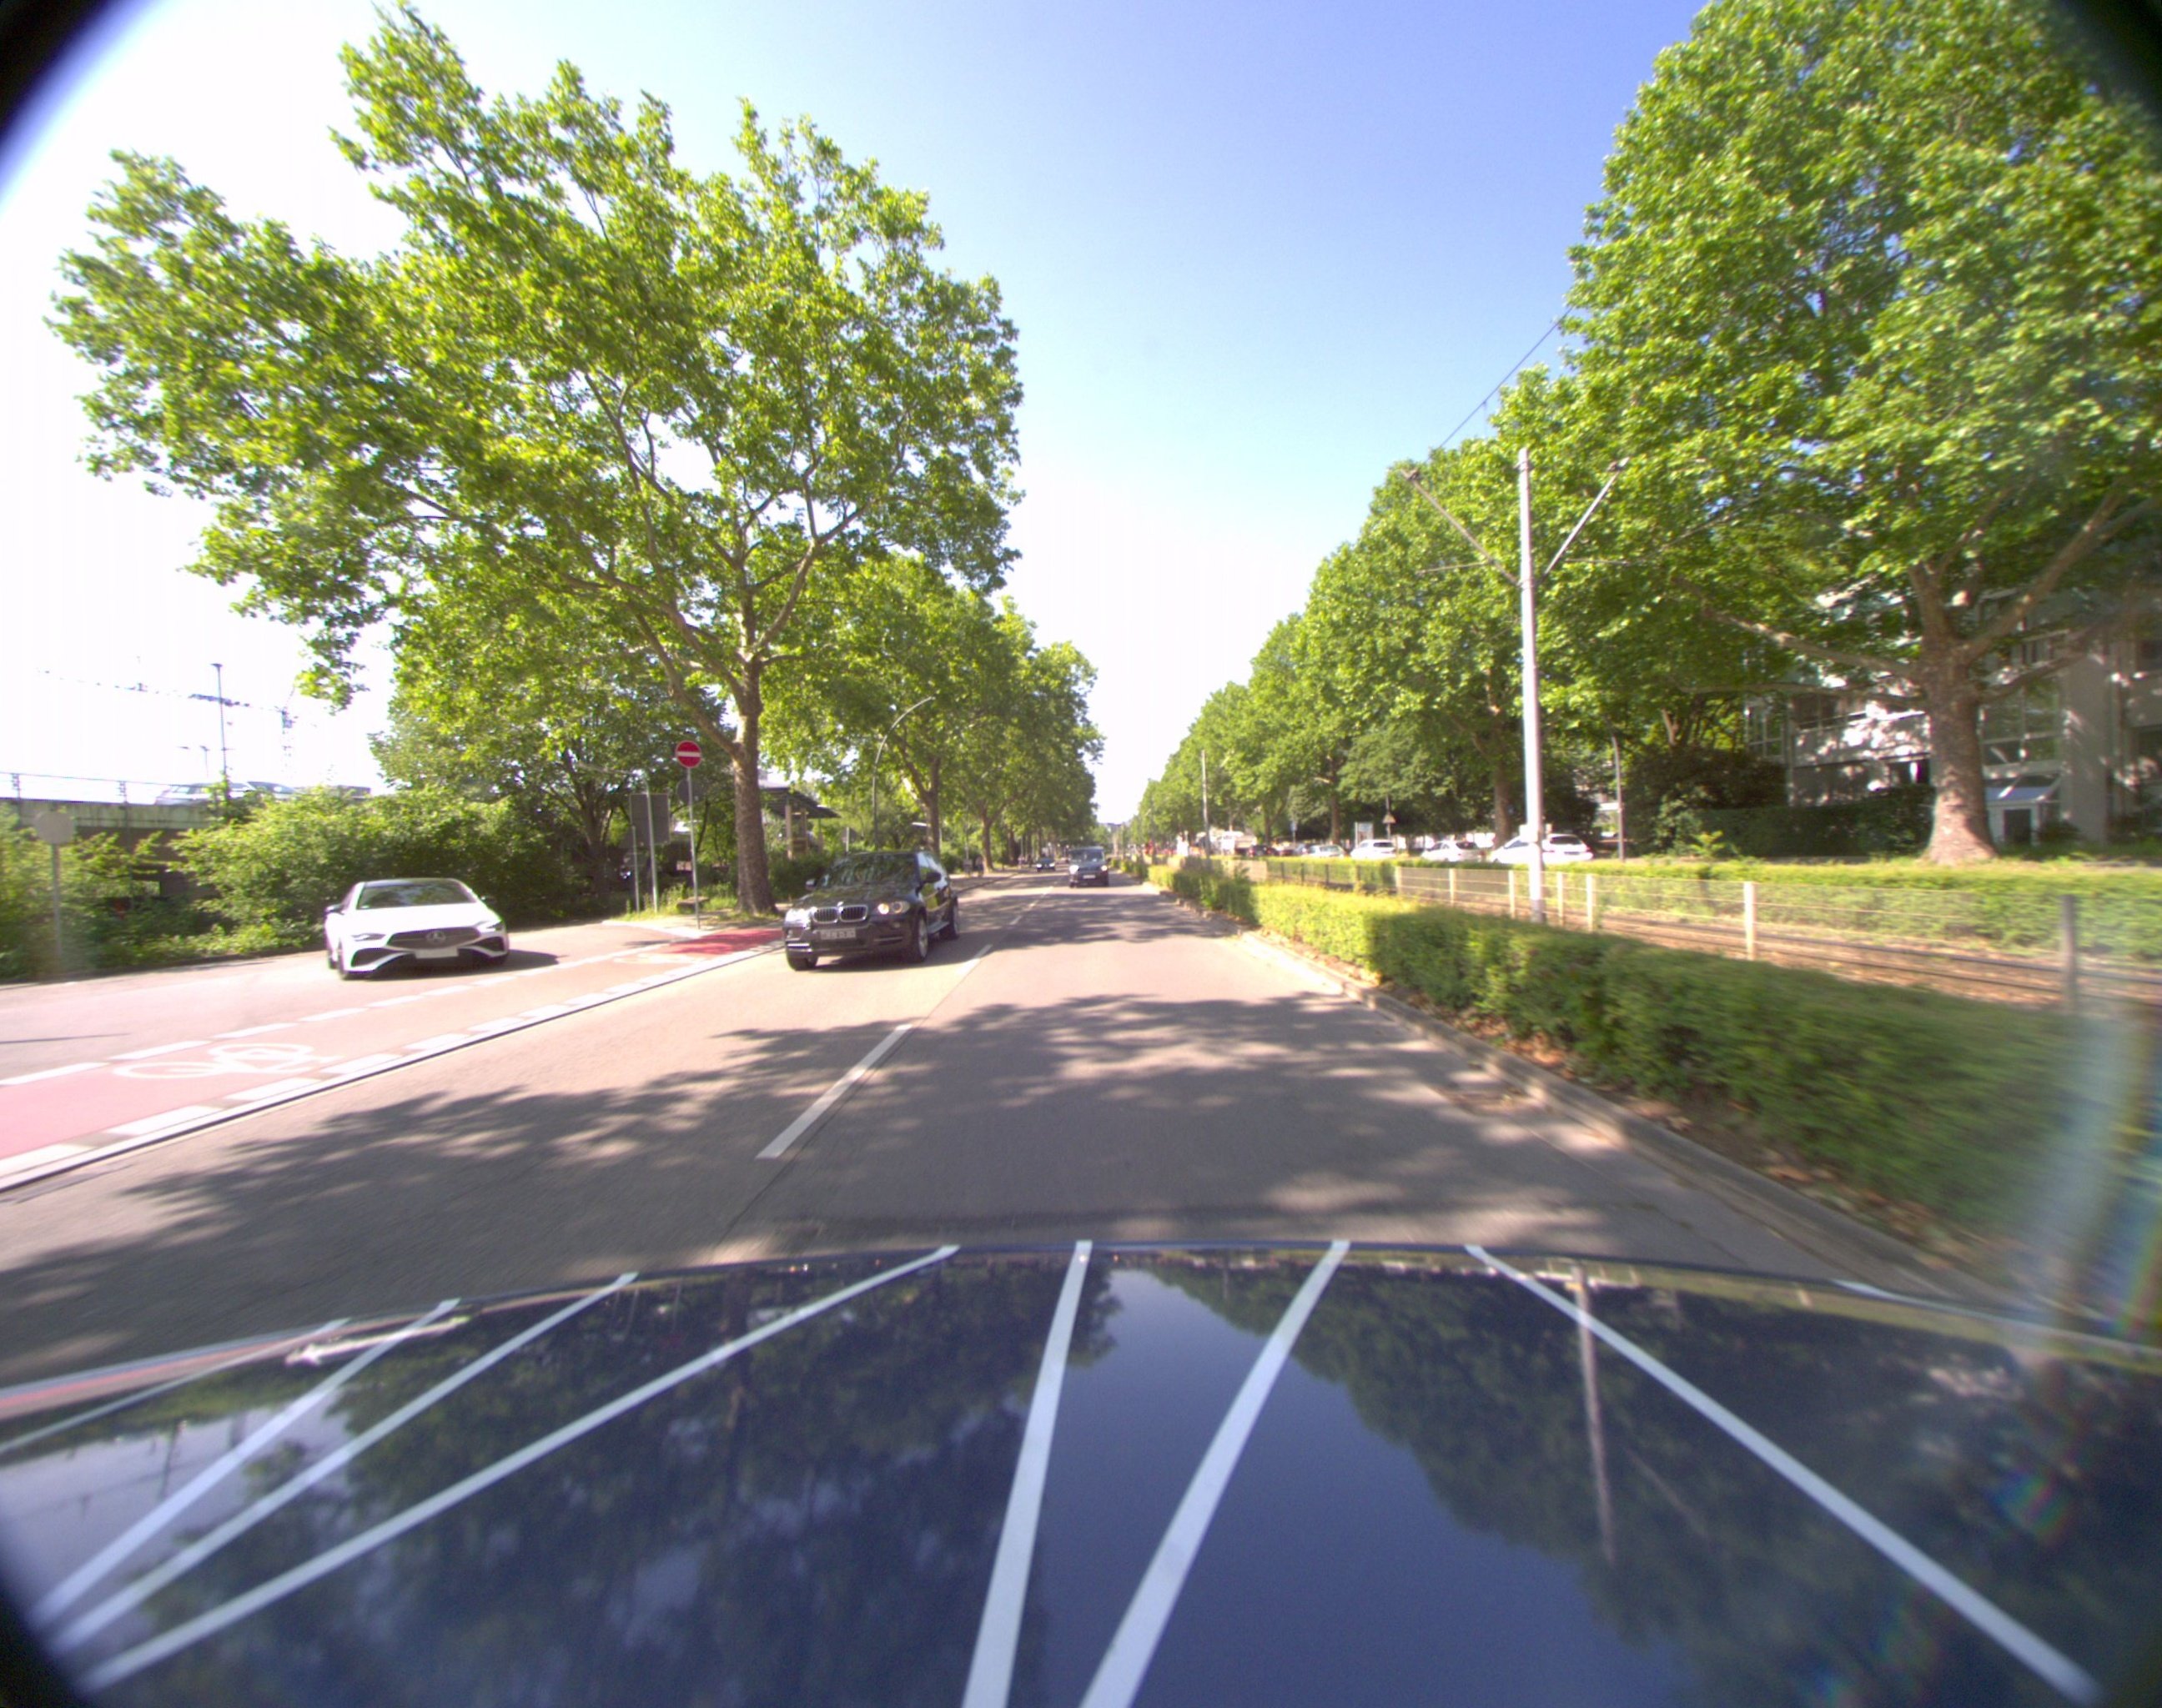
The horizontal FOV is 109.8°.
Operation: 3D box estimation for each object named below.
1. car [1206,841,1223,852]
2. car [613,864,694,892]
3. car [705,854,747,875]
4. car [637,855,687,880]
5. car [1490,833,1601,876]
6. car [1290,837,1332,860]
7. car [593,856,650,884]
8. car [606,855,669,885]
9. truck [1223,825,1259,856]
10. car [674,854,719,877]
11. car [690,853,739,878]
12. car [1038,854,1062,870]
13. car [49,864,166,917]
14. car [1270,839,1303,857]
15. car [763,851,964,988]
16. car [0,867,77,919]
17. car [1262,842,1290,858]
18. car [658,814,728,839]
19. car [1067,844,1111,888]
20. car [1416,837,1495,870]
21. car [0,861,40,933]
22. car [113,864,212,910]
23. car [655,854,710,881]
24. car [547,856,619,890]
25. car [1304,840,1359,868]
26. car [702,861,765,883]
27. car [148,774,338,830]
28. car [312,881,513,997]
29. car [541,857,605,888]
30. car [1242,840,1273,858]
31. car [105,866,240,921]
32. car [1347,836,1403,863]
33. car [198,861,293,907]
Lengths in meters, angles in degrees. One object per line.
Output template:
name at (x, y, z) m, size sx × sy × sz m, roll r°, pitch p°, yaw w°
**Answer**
car at (19.444, -1.060, 110.885) m, size 1.752 × 1.445 × 3.865 m, roll -3°, pitch 0°, yaw 1°
car at (-26.827, 1.497, 47.808) m, size 3.997 × 1.501 × 1.808 m, roll -3°, pitch 1°, yaw -1°
car at (-42.342, 1.212, 90.616) m, size 3.997 × 2.309 × 1.808 m, roll -3°, pitch 1°, yaw -1°
car at (-42.340, 1.366, 76.855) m, size 3.997 × 2.309 × 1.808 m, roll -3°, pitch 1°, yaw -1°
car at (17.226, 0.020, 28.405) m, size 1.819 × 1.482 × 3.912 m, roll 0°, pitch 0°, yaw 1°
car at (16.706, -0.391, 55.391) m, size 1.860 × 1.573 × 4.000 m, roll -3°, pitch 0°, yaw 1°
car at (-42.343, 1.442, 70.061) m, size 3.997 × 2.309 × 1.808 m, roll -3°, pitch 1°, yaw -1°
car at (-36.805, 1.306, 63.114) m, size 3.997 × 2.309 × 1.808 m, roll -3°, pitch 1°, yaw -1°
truck at (18.242, -1.547, 86.947) m, size 2.751 × 3.259 × 6.540 m, roll -3°, pitch 0°, yaw 1°
car at (-42.364, 1.290, 83.756) m, size 3.997 × 2.309 × 1.808 m, roll -3°, pitch 1°, yaw -1°
car at (-37.121, 1.163, 77.007) m, size 3.997 × 2.309 × 1.808 m, roll -3°, pitch 1°, yaw -1°
car at (-3.034, 0.786, 74.454) m, size 1.854 × 1.419 × 4.152 m, roll -3°, pitch 1°, yaw 3°
car at (-54.435, 2.004, 42.555) m, size 3.997 × 2.723 × 1.808 m, roll -3°, pitch 1°, yaw -1°
car at (17.624, -0.511, 65.388) m, size 1.701 × 1.406 × 3.892 m, roll -5°, pitch 0°, yaw 1°
car at (-3.280, 0.892, 12.421) m, size 1.924 × 1.720 × 4.151 m, roll -4°, pitch 1°, yaw 1°
car at (-59.502, 2.199, 42.497) m, size 3.997 × 2.723 × 1.808 m, roll -3°, pitch 1°, yaw -1°
car at (18.774, -0.387, 73.273) m, size 1.752 × 1.445 × 3.865 m, roll -3°, pitch 0°, yaw 1°
car at (-27.400, -1.952, 53.738) m, size 3.997 × 1.501 × 1.808 m, roll -3°, pitch 1°, yaw -1°
car at (0.418, 0.501, 35.267) m, size 1.789 × 1.840 × 4.000 m, roll -2°, pitch 1°, yaw 3°
car at (17.988, -0.036, 36.739) m, size 1.856 × 1.445 × 4.000 m, roll -3°, pitch 0°, yaw 1°
car at (-42.862, 1.715, 28.818) m, size 3.997 × 2.723 × 1.808 m, roll -3°, pitch 1°, yaw -1°
car at (-59.664, 2.128, 49.396) m, size 3.997 × 2.723 × 1.808 m, roll -3°, pitch 1°, yaw -1°
car at (-36.707, 1.224, 70.123) m, size 3.997 × 2.309 × 1.808 m, roll -3°, pitch 1°, yaw -1°
car at (-36.925, 1.386, 56.398) m, size 3.997 × 2.309 × 1.808 m, roll -3°, pitch 1°, yaw -1°
car at (14.408, 0.004, 43.887) m, size 1.860 × 1.445 × 4.000 m, roll -3°, pitch 0°, yaw 1°
car at (-26.974, 1.377, 59.098) m, size 3.997 × 1.501 × 1.808 m, roll -3°, pitch 1°, yaw -1°
car at (-26.919, -1.644, 24.517) m, size 3.997 × 1.501 × 1.808 m, roll -3°, pitch 1°, yaw -1°
car at (-10.612, 1.202, 11.968) m, size 3.989 × 1.400 × 1.900 m, roll -2°, pitch 1°, yaw 43°
car at (-42.100, 1.511, 63.052) m, size 3.997 × 2.309 × 1.808 m, roll -3°, pitch 1°, yaw -1°
car at (15.166, -0.417, 65.409) m, size 1.701 × 1.406 × 3.892 m, roll -5°, pitch 0°, yaw 1°
car at (-42.688, 1.838, 35.763) m, size 3.997 × 2.309 × 1.808 m, roll -3°, pitch 1°, yaw -1°
car at (17.978, -0.278, 46.603) m, size 1.860 × 1.445 × 4.000 m, roll -3°, pitch 0°, yaw 1°
car at (-54.342, 1.923, 49.484) m, size 3.997 × 2.723 × 1.808 m, roll -3°, pitch 1°, yaw -1°
